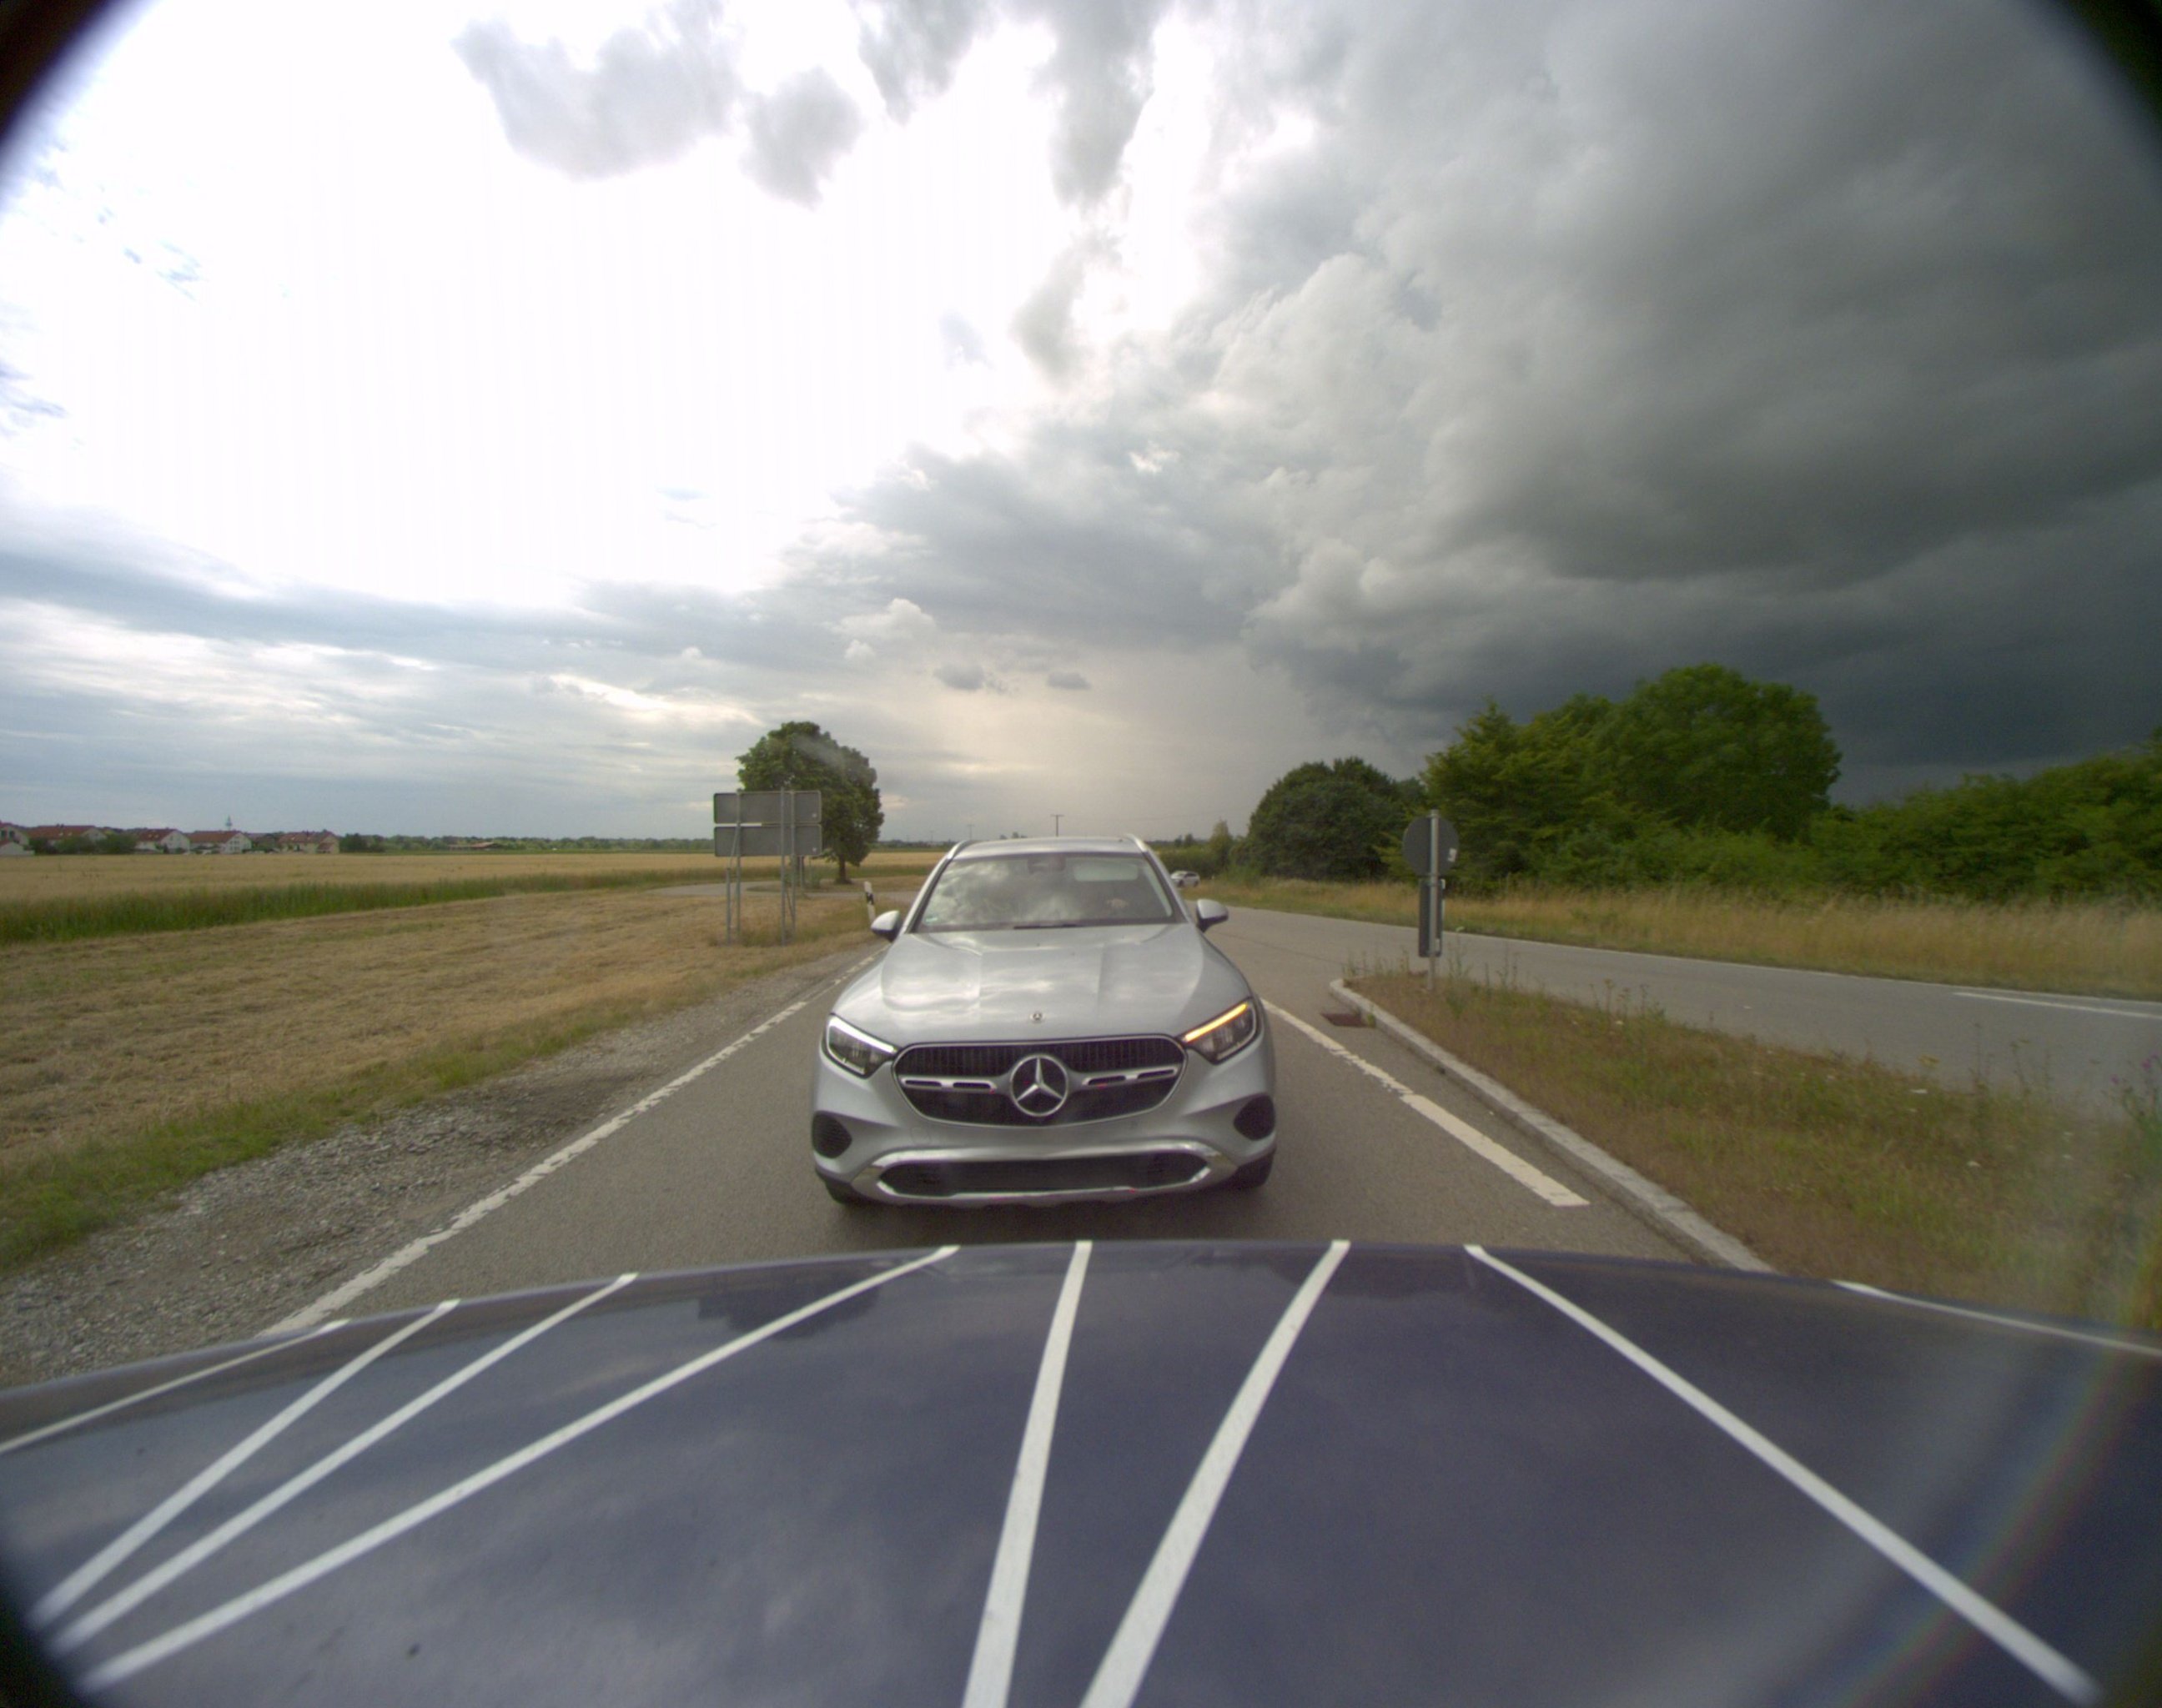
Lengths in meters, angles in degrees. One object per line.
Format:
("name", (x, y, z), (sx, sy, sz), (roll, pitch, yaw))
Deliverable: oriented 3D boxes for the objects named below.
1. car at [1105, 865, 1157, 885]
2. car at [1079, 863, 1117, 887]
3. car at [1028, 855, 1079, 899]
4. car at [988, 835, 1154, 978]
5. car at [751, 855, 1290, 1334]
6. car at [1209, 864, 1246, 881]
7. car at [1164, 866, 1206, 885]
("car", (4.684, 1.923, 70.126), (1.993, 1.709, 5.221), (3, 1, 40))
("car", (1.405, 1.658, 60.736), (1.996, 1.709, 5.215), (3, 0, 13))
("car", (-1.105, 0.930, 32.968), (1.999, 1.710, 5.207), (0, 1, 0))
("car", (-0.139, 0.653, 11.849), (1.999, 1.709, 5.208), (1, 0, 0))
("car", (-0.276, 0.825, 4.834), (1.837, 1.577, 4.448), (0, 1, -2))
("car", (16.850, 2.088, 87.167), (1.994, 1.710, 5.219), (3, 2, 36))
("car", (10.774, 2.204, 78.299), (1.994, 1.710, 5.219), (3, 2, 37))
